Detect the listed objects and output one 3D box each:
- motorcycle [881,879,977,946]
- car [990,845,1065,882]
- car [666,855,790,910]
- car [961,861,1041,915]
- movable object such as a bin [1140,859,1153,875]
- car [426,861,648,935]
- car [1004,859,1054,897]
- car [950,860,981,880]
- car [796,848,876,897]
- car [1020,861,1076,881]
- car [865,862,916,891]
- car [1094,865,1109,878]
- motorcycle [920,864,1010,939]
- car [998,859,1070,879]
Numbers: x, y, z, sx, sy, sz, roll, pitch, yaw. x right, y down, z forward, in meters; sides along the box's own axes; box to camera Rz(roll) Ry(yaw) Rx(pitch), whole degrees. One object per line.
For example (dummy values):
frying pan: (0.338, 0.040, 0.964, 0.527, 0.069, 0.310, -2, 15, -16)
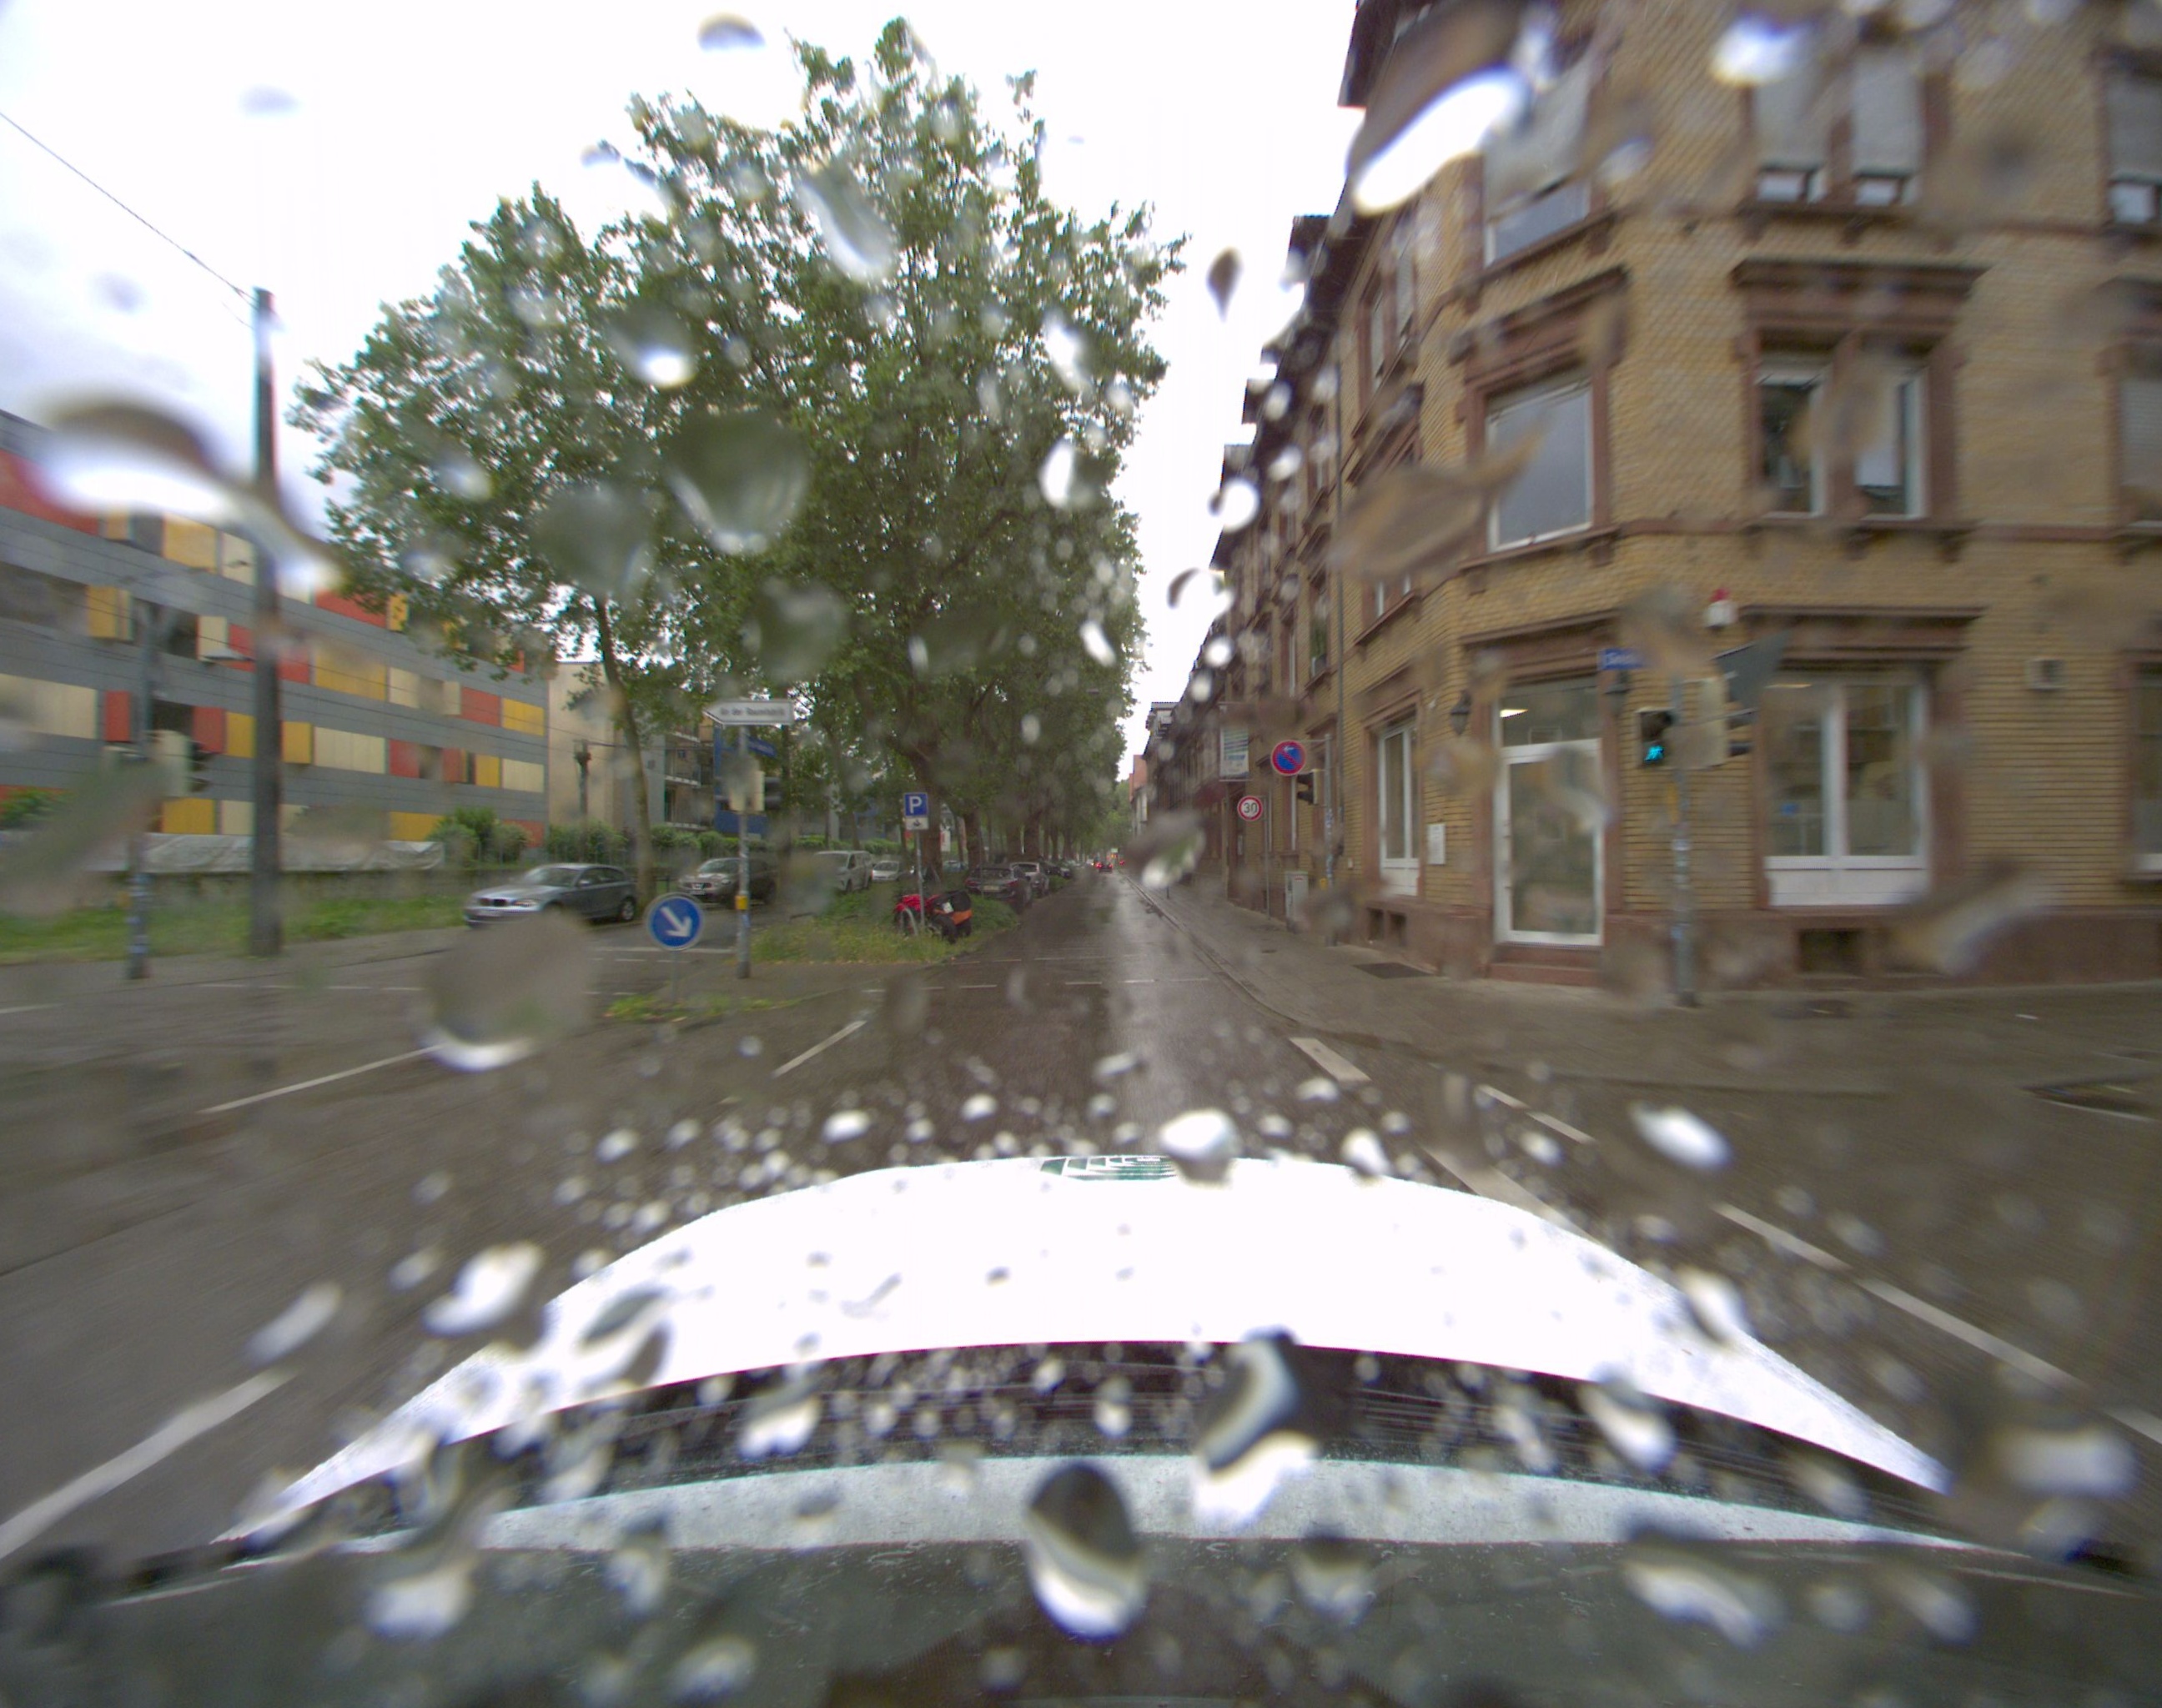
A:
motorcycle: (-3.082, 1.136, 16.389, 0.874, 1.209, 2.116, 2, -2, -44)
car: (-3.487, 0.640, 52.750, 4.600, 2.283, 2.024, -1, -1, 35)
car: (-11.147, 0.860, 26.103, 1.897, 1.600, 4.469, 0, 0, 2)
car: (-2.395, 0.988, 25.500, 1.889, 1.485, 4.623, 1, 0, 2)
movable object such as a bin: (5.879, 1.166, 72.931, 1.017, 1.301, 1.367, -4, 0, 1)
car: (-12.049, 0.893, 18.483, 1.896, 1.463, 4.391, 0, 0, 3)
car: (-2.168, 0.972, 35.104, 1.723, 1.514, 4.209, 1, 0, 2)
car: (-9.262, 1.236, 65.480, 1.898, 1.534, 4.215, 0, 0, 0)
car: (-10.937, 0.779, 36.774, 2.048, 1.997, 5.430, 2, 0, -2)
car: (-2.594, 1.305, 63.851, 4.013, 1.537, 1.847, 0, 0, 32)
car: (-10.764, 1.249, 46.261, 1.898, 1.534, 4.215, 0, 0, 0)
car: (2.705, 2.260, 107.648, 1.986, 1.640, 4.001, 1, -1, 1)
motorcycle: (-2.503, 0.966, 17.404, 2.083, 1.500, 0.776, 0, -2, 45)
car: (-3.228, 1.030, 55.541, 4.601, 1.326, 1.858, -1, -1, 29)
